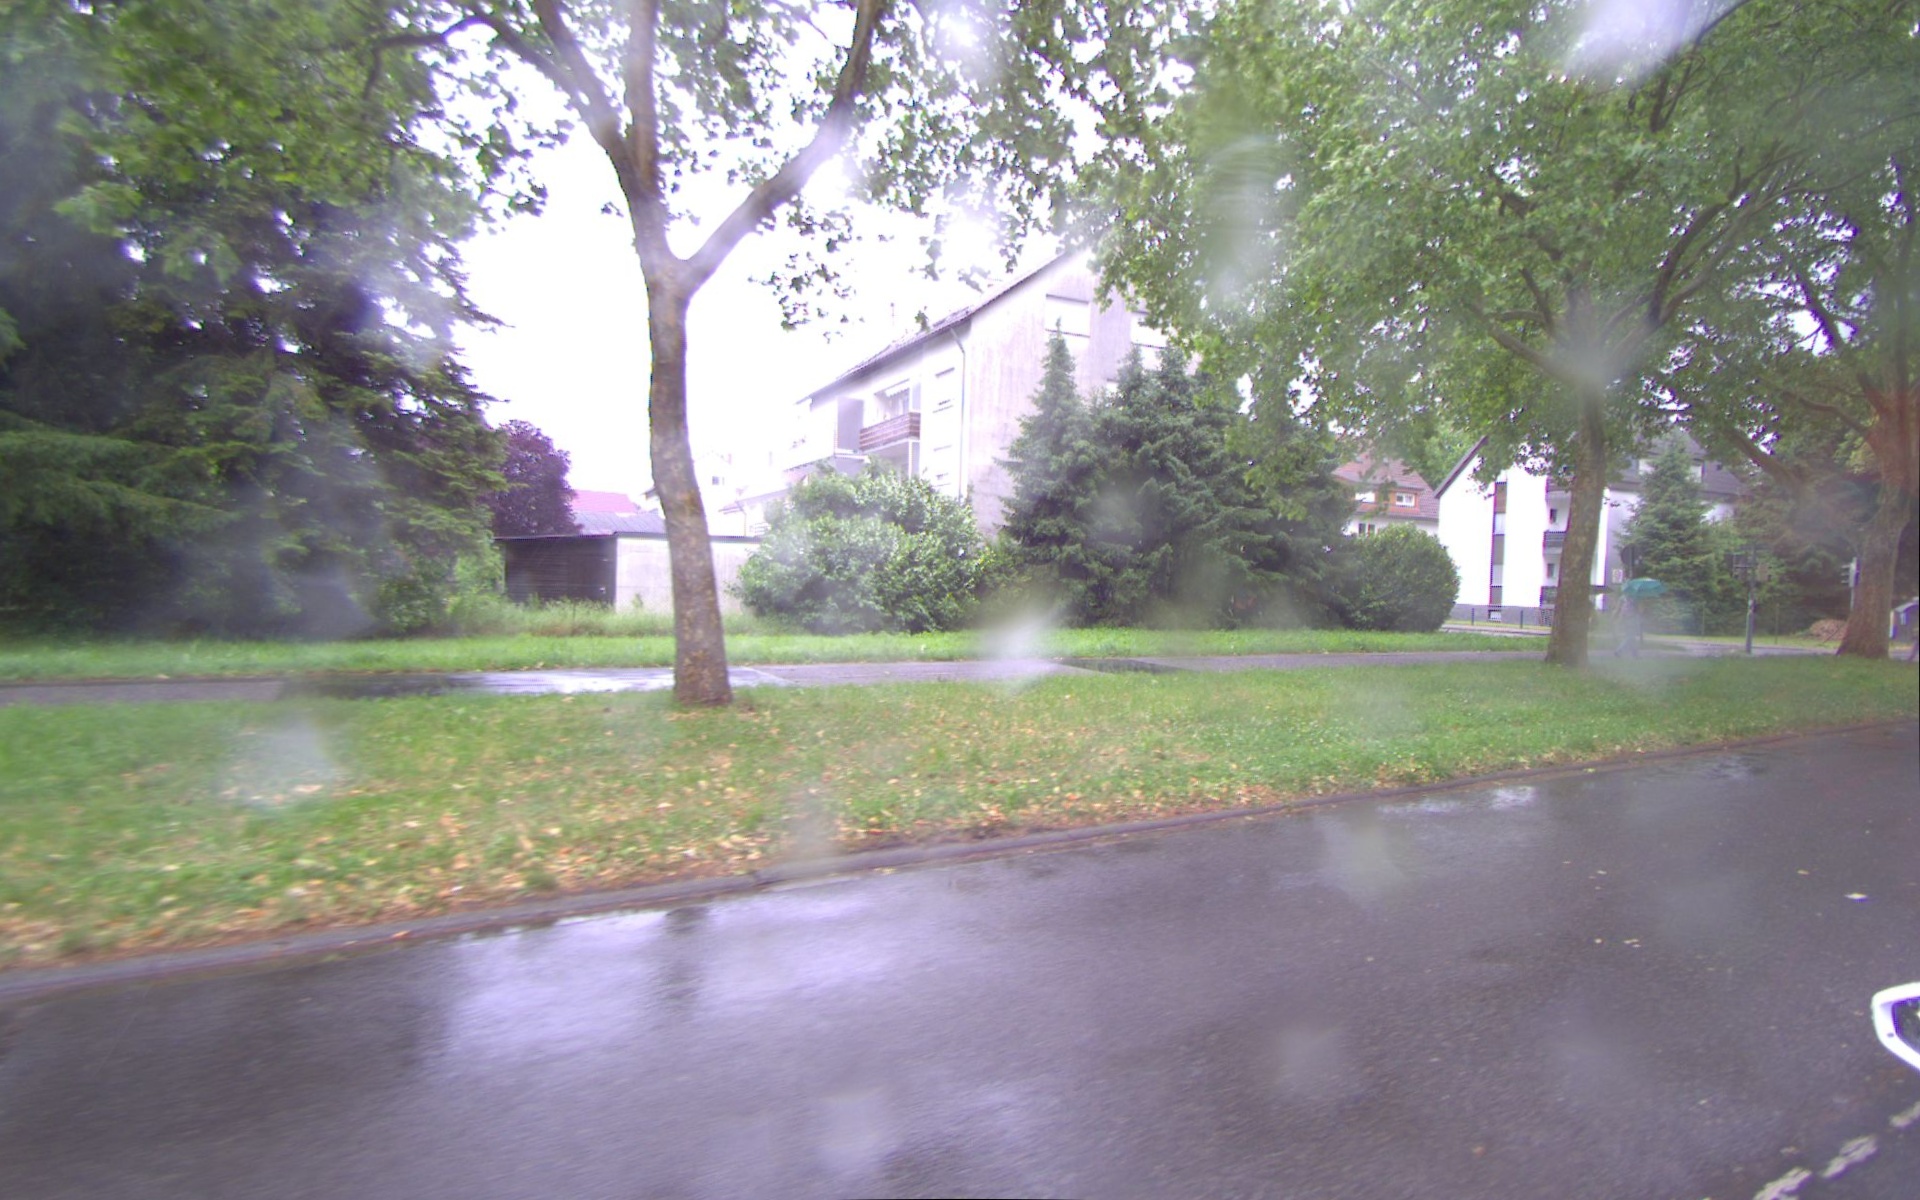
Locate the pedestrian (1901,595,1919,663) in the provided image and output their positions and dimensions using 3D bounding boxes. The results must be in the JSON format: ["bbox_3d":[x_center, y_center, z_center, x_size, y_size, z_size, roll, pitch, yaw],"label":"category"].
[{"bbox_3d":[25.440,0.782,26.384,0.633,1.768,0.854,1,2,-33],"label":"pedestrian"}]

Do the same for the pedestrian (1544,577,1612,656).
[{"bbox_3d":[14.399,0.370,23.408,0.869,1.789,1.028,0,1,-30],"label":"pedestrian"}]

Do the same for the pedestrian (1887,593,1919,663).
[{"bbox_3d":[24.596,0.714,25.914,0.633,1.768,0.815,1,2,-33],"label":"pedestrian"}]

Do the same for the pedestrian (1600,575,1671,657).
[{"bbox_3d":[15.072,0.337,22.413,0.828,1.789,1.028,0,1,-30],"label":"pedestrian"}]
